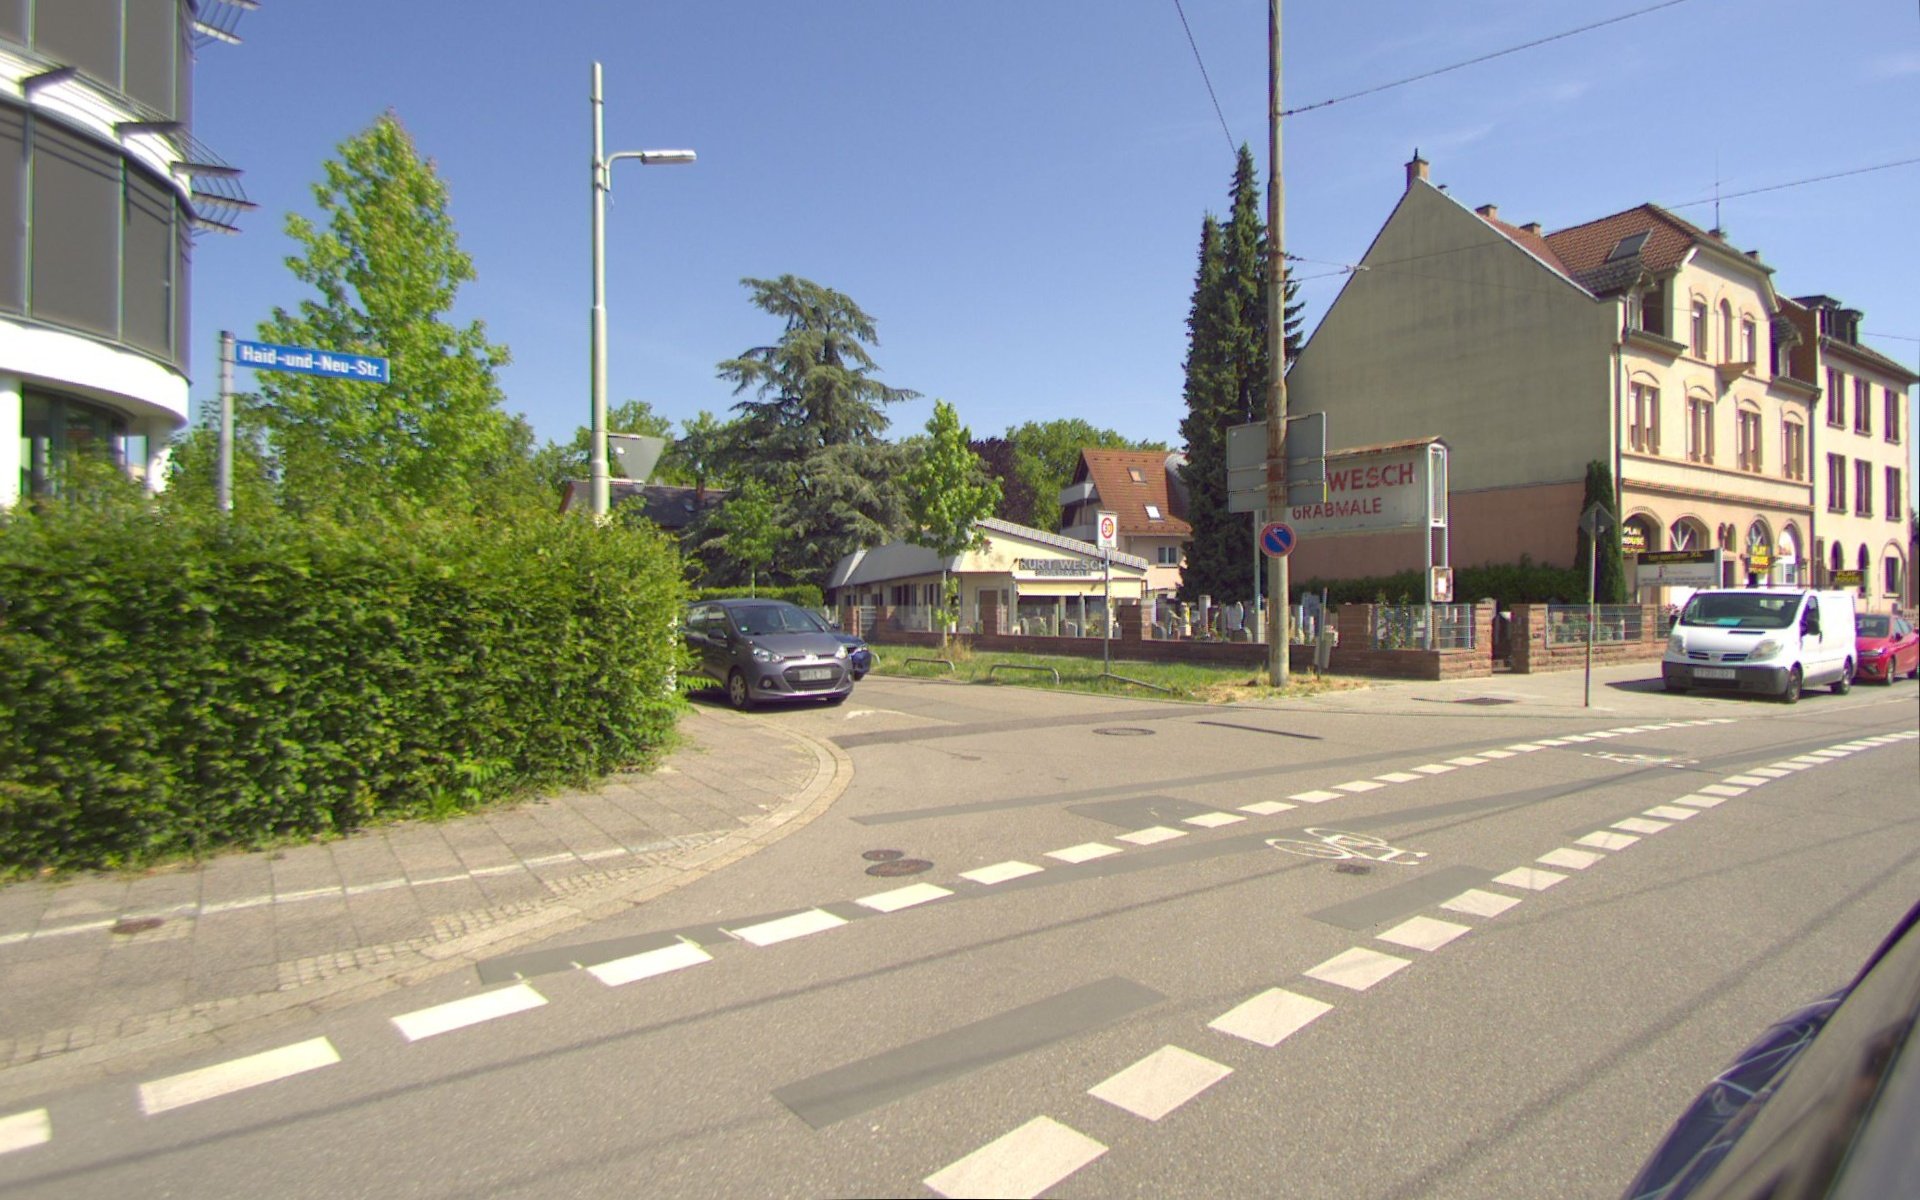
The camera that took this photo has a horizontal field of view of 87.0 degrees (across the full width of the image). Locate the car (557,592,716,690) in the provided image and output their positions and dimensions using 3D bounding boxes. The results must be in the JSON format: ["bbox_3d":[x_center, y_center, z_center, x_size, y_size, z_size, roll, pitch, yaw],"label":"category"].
[{"bbox_3d":[-5.928,0.676,18.272,1.626,1.567,3.999,0,-1,-35],"label":"car"}]

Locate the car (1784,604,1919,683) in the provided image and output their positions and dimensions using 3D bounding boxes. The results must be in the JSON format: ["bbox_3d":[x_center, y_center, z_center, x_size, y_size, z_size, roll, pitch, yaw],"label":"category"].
[{"bbox_3d":[19.506,0.860,21.784,4.231,1.461,1.727,0,1,-36],"label":"car"}]

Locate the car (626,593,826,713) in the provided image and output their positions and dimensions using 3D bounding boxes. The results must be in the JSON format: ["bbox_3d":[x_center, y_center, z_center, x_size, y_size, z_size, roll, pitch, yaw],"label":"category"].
[{"bbox_3d":[-3.453,0.677,14.495,1.562,1.492,3.604,0,-1,-35],"label":"car"}]

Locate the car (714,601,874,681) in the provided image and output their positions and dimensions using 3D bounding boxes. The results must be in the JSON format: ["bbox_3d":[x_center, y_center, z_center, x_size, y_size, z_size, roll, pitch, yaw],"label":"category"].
[{"bbox_3d":[-3.356,0.742,19.901,1.639,1.406,3.757,0,-1,-35],"label":"car"}]

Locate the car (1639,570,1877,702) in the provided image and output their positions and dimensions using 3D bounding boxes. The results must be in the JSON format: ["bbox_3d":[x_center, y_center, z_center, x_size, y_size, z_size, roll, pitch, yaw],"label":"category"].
[{"bbox_3d":[14.464,0.546,18.247,5.092,2.080,1.983,0,1,-35],"label":"car"}]

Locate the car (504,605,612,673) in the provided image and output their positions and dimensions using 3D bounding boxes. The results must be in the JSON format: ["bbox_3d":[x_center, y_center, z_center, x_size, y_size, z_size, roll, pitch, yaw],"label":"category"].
[{"bbox_3d":[-9.103,0.831,22.828,1.626,1.429,2.914,0,-1,-35],"label":"car"}]
